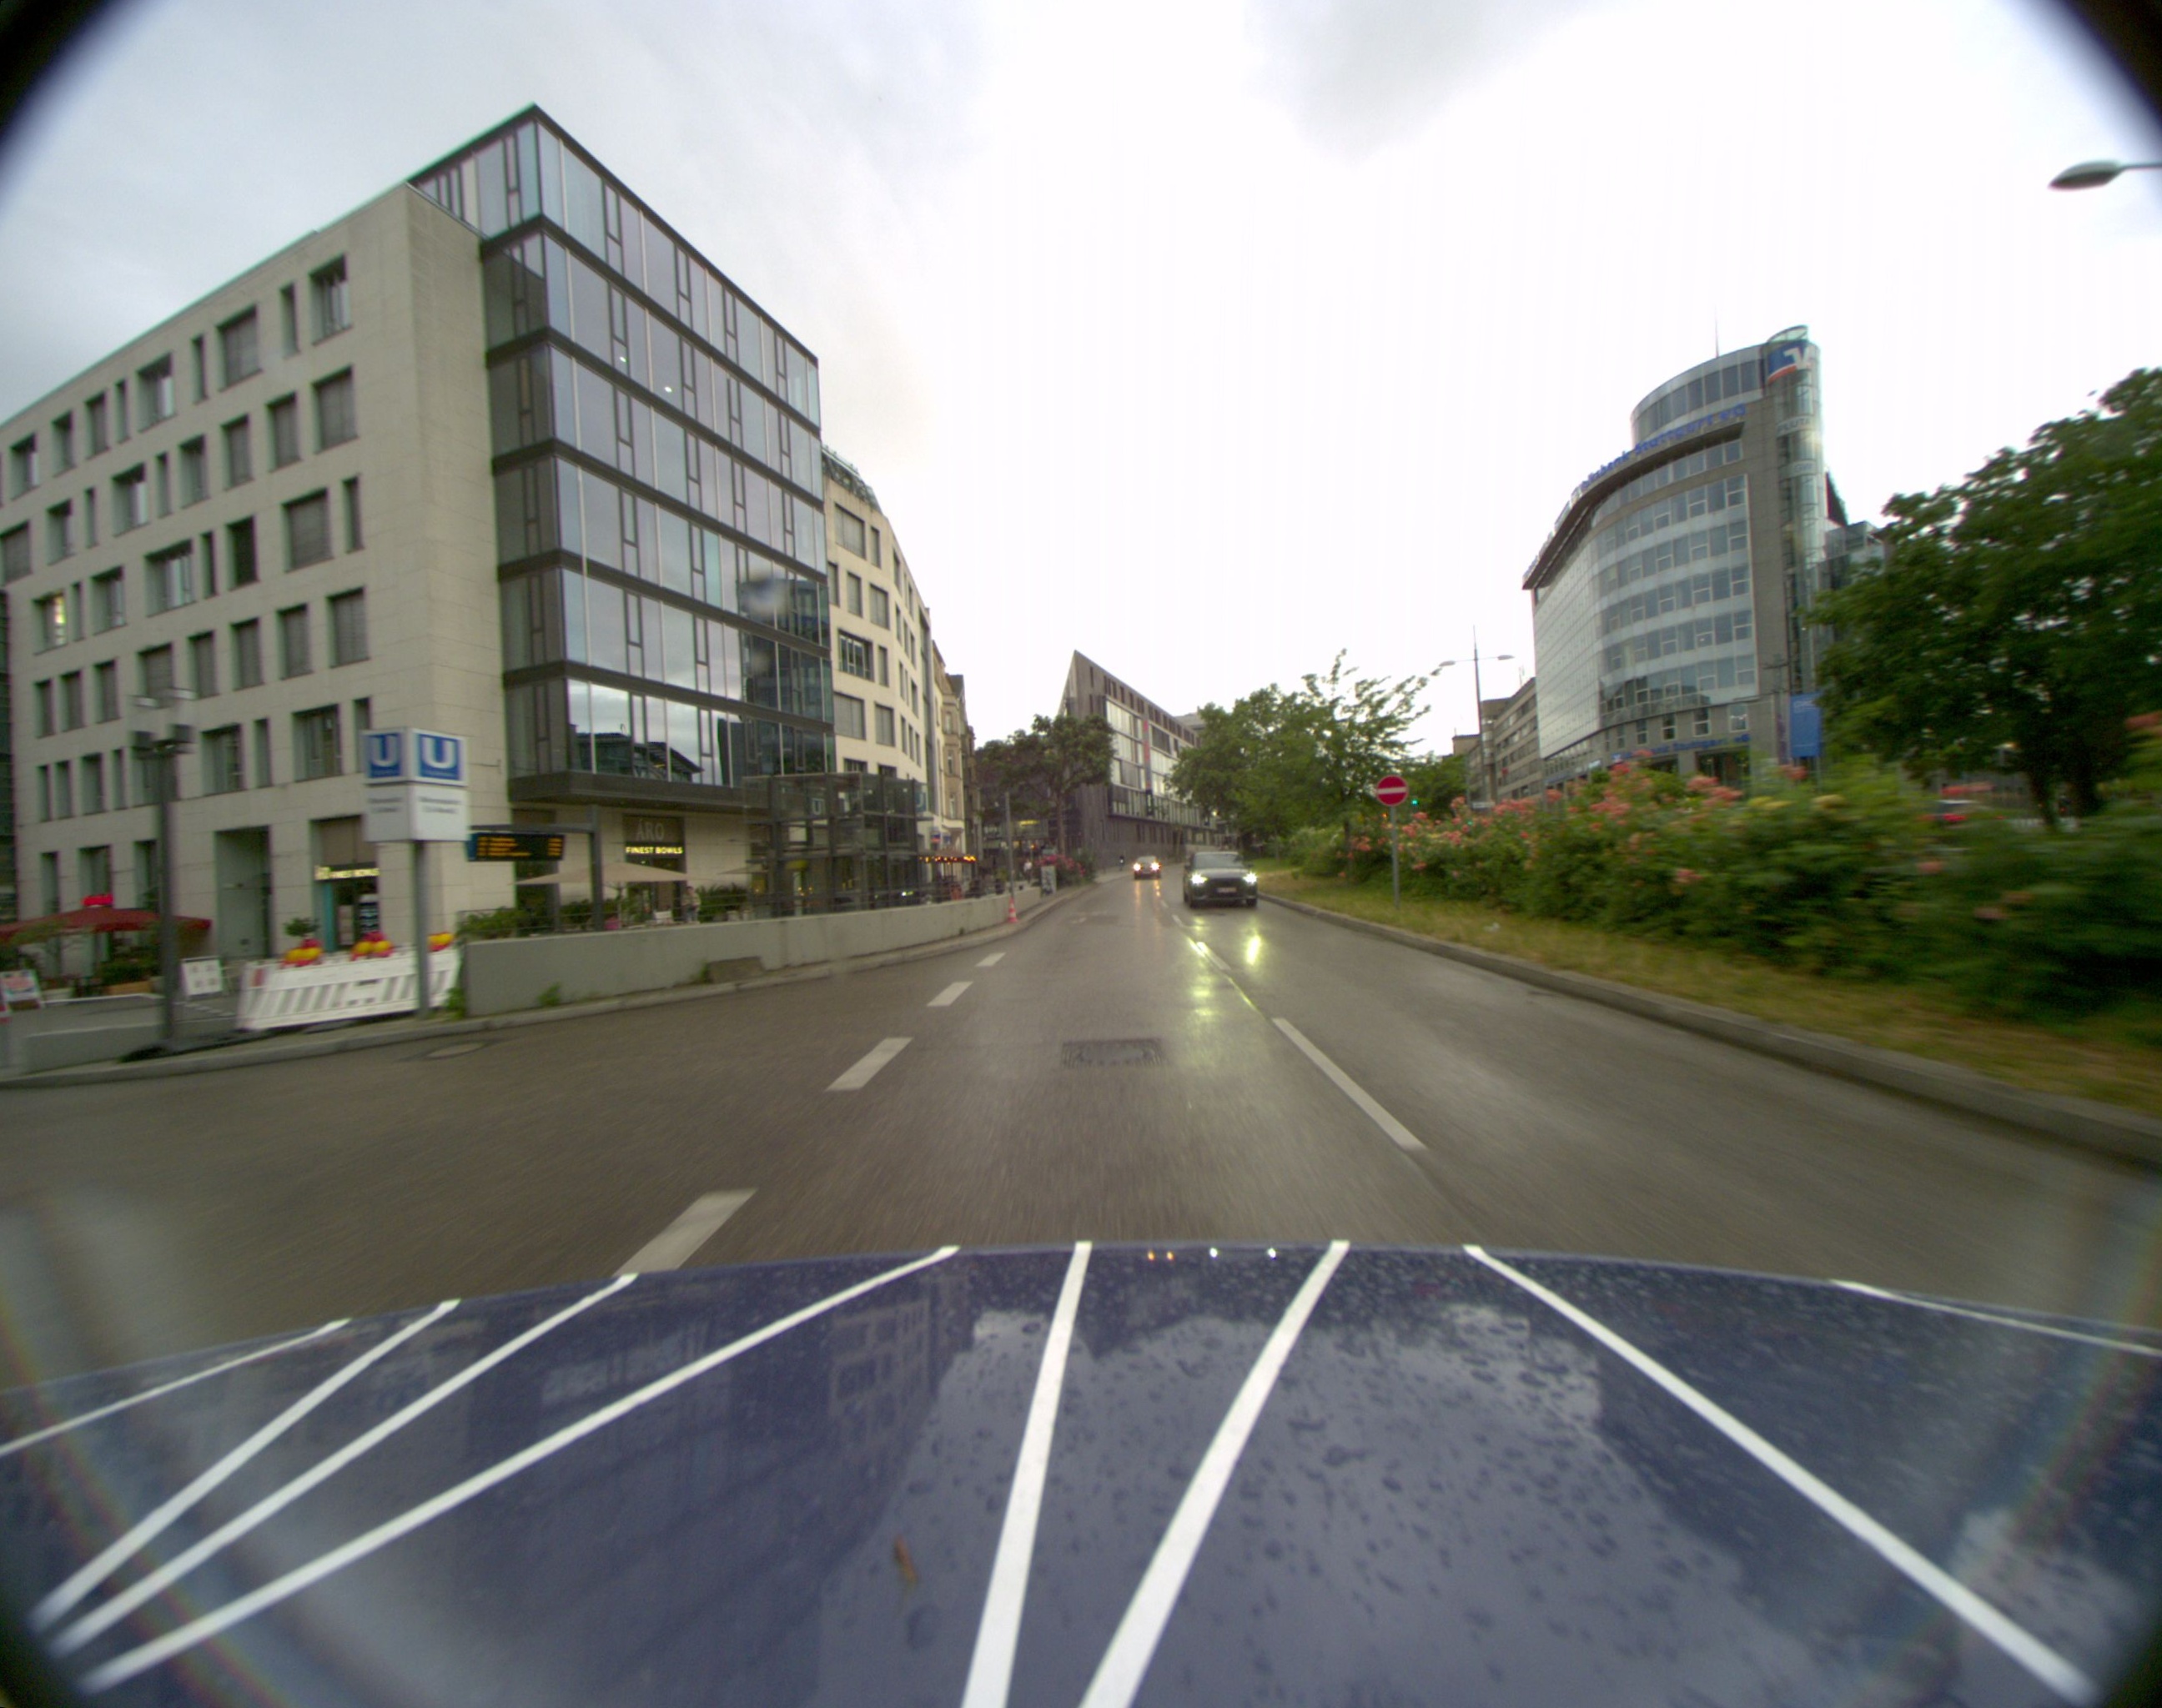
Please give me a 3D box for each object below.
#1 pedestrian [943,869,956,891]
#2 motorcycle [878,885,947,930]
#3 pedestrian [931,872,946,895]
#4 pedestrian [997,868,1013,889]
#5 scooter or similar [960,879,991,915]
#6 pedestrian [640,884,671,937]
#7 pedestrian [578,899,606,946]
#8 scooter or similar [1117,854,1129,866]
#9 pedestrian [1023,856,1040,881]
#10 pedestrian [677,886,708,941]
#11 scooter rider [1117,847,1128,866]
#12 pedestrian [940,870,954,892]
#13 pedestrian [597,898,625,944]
[{"bbox_3d":[-8.372,1.672,48.424,0.628,1.318,0.635,-6,1,-2],"label":"pedestrian"},{"bbox_3d":[-4.843,1.540,21.895,1.781,1.151,0.607,-4,0,4],"label":"motorcycle"},{"bbox_3d":[-8.650,1.777,46.151,0.628,1.318,0.635,-6,1,-2],"label":"pedestrian"},{"bbox_3d":[-5.162,1.642,51.530,0.775,1.318,0.636,-6,1,17],"label":"pedestrian"},{"bbox_3d":[-4.009,1.648,28.944,1.093,1.264,0.481,-4,1,-6],"label":"scooter or similar"},{"bbox_3d":[-15.651,2.059,27.967,0.641,1.883,0.587,-3,2,17],"label":"pedestrian"},{"bbox_3d":[-15.344,2.144,23.841,0.435,1.395,0.479,-2,2,20],"label":"pedestrian"},{"bbox_3d":[4.663,0.681,84.358,0.778,1.298,1.337,-3,1,26],"label":"scooter or similar"},{"bbox_3d":[-3.835,1.104,59.165,0.873,1.827,1.250,-5,1,8],"label":"pedestrian"},{"bbox_3d":[-13.777,2.107,26.974,0.585,1.883,0.643,-2,2,21],"label":"pedestrian"},{"bbox_3d":[4.638,0.264,84.329,0.778,2.009,0.925,-2,1,26],"label":"scooter rider"},{"bbox_3d":[-8.390,1.690,47.557,0.628,1.318,0.635,-6,1,-2],"label":"pedestrian"},{"bbox_3d":[-14.780,2.113,23.894,0.435,1.395,0.479,-2,2,20],"label":"pedestrian"}]
